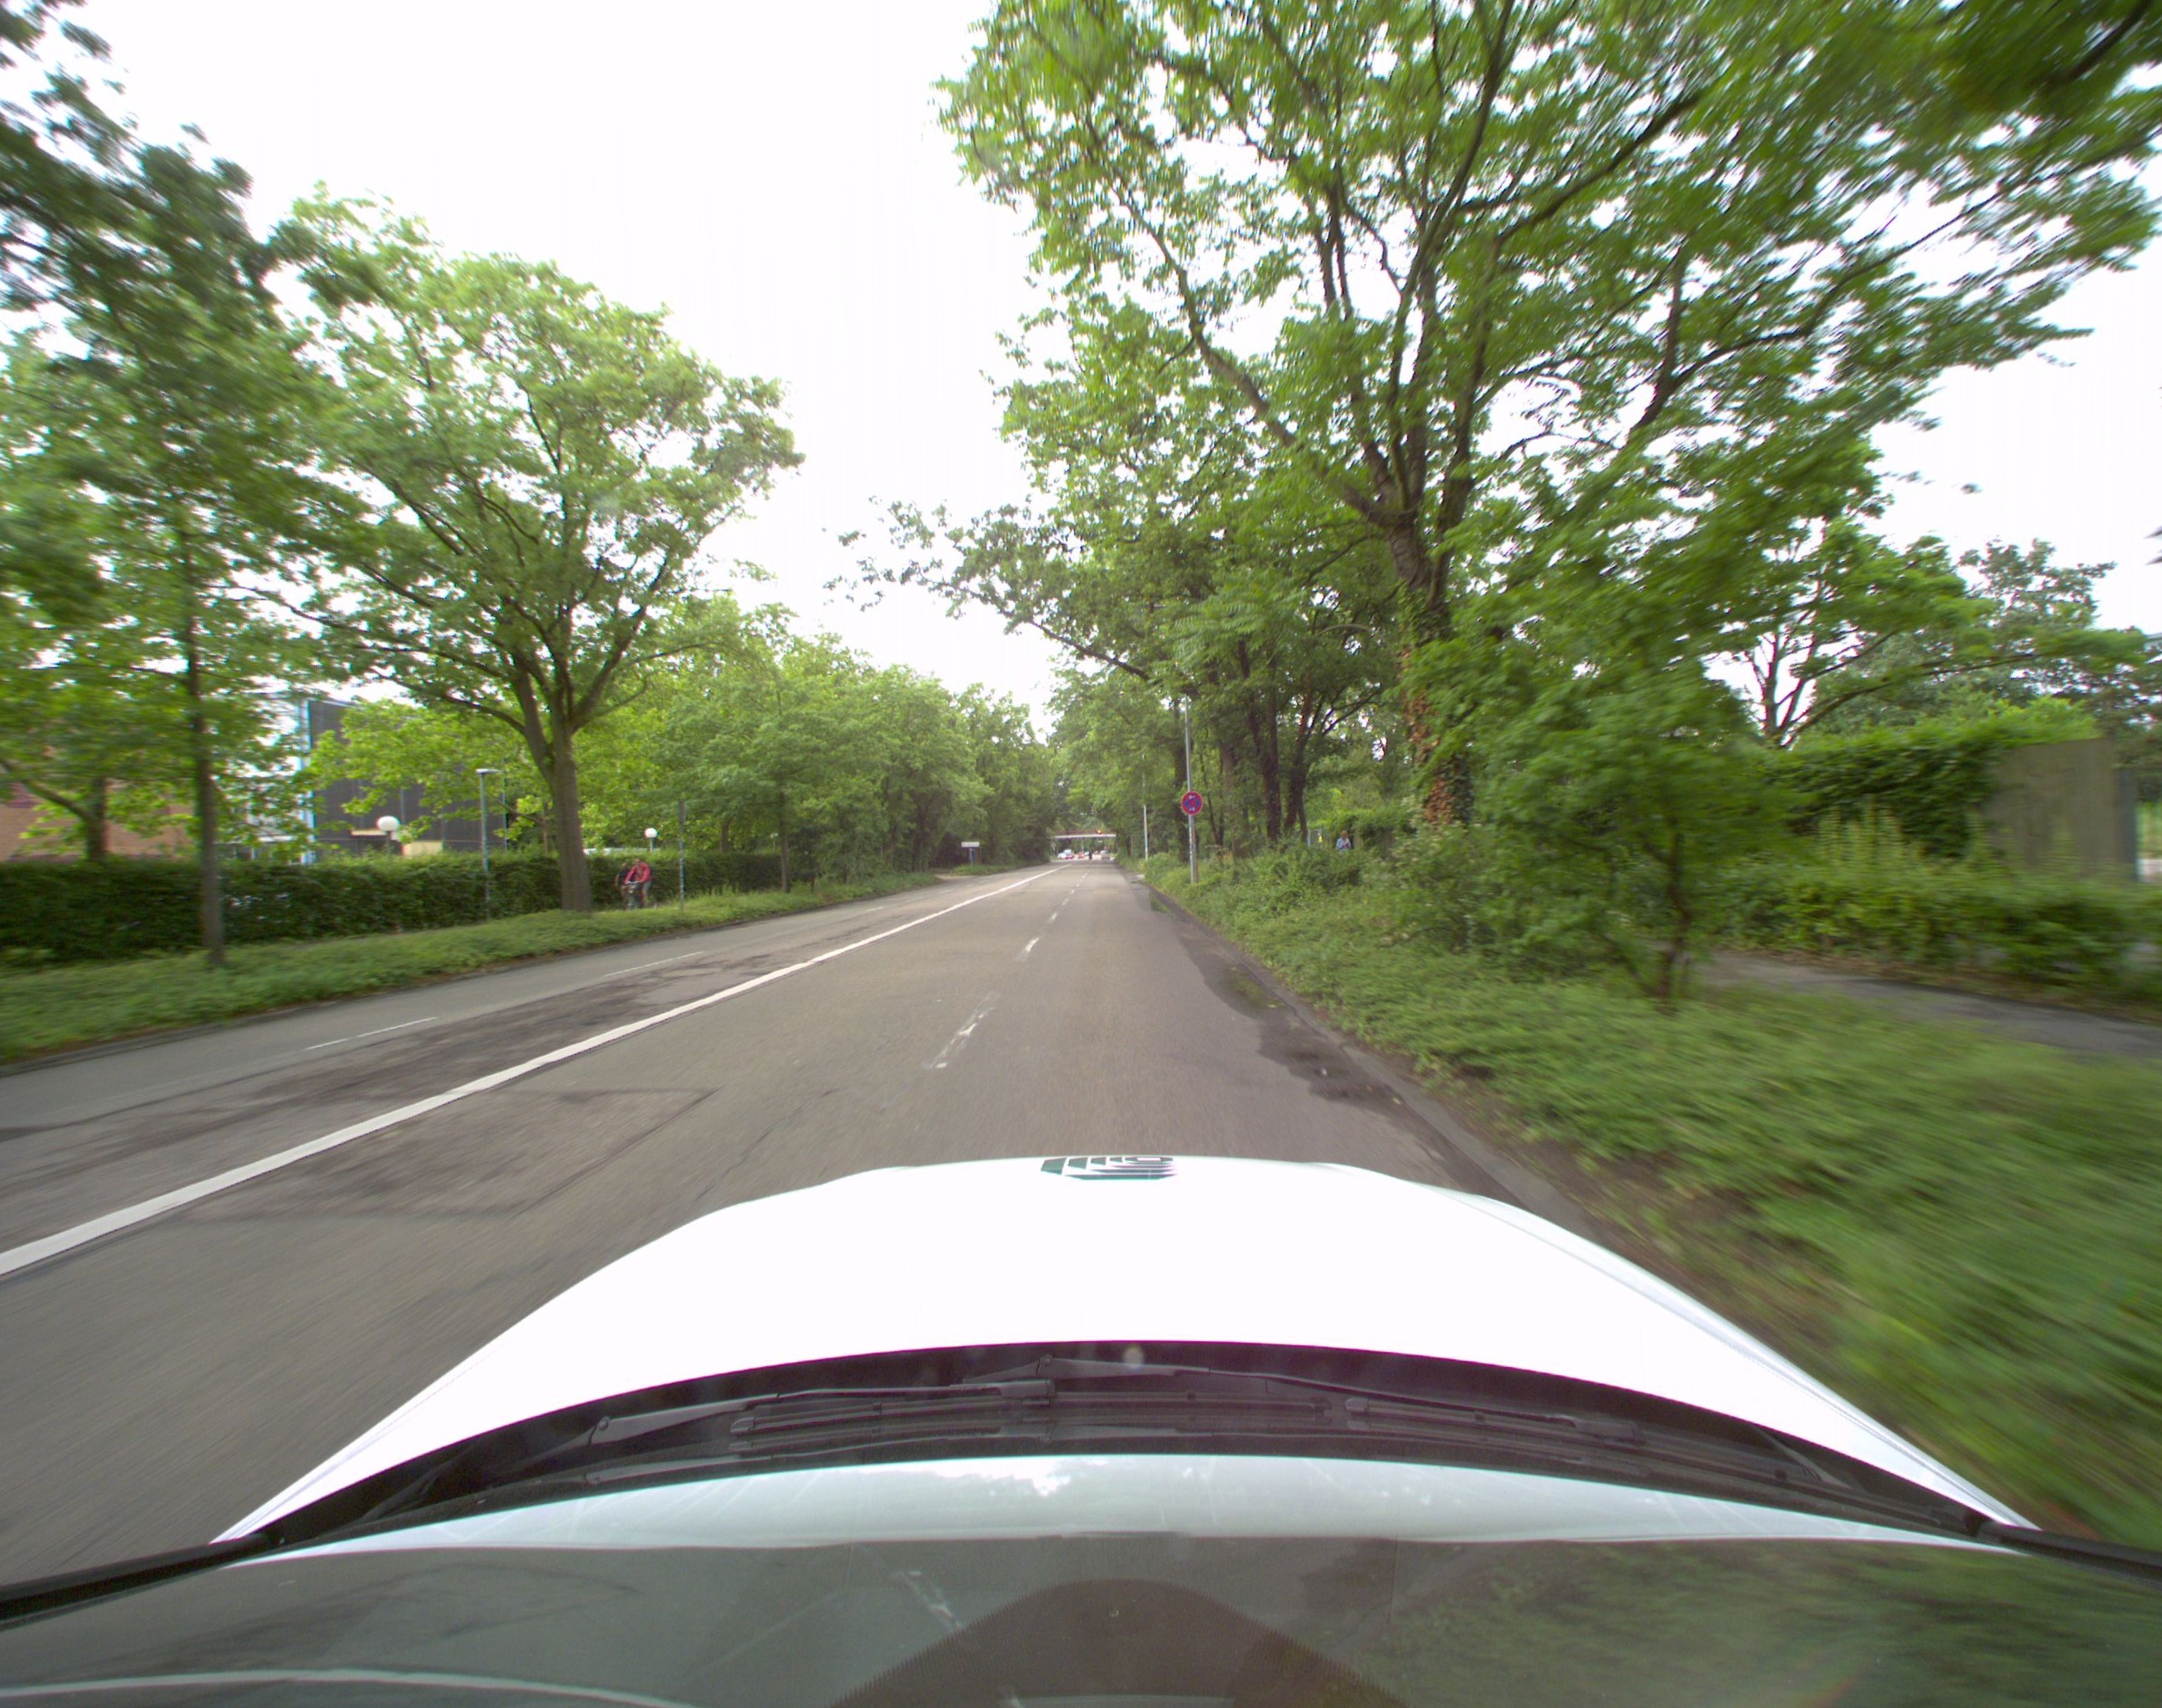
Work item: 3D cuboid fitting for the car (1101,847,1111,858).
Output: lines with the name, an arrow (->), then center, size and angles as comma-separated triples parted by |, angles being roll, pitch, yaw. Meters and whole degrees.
car -> 4.778, -0.338, 156.809 | 1.836, 2.013, 4.001 | -1, 0, 1

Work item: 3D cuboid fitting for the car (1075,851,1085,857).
car -> -0.233, -0.047, 204.092 | 1.664, 1.362, 3.932 | -1, 0, 10

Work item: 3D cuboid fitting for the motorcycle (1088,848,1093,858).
motorcycle -> 1.892, -0.214, 160.504 | 0.986, 1.936, 2.670 | -1, 0, 1

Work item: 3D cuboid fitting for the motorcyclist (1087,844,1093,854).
motorcyclist -> 1.754, -1.029, 160.475 | 1.059, 2.013, 0.843 | -1, 0, 1

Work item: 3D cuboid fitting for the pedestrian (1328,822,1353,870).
pedestrian -> 9.218, -0.292, 28.918 | 0.570, 1.651, 0.821 | -3, 0, 2

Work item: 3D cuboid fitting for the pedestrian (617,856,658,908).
pedestrian -> -14.143, 0.867, 26.001 | 0.789, 1.613, 0.848 | -1, 0, 1

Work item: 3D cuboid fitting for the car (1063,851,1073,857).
car -> -3.223, 0.016, 203.893 | 1.984, 1.354, 3.899 | -1, 0, 4
